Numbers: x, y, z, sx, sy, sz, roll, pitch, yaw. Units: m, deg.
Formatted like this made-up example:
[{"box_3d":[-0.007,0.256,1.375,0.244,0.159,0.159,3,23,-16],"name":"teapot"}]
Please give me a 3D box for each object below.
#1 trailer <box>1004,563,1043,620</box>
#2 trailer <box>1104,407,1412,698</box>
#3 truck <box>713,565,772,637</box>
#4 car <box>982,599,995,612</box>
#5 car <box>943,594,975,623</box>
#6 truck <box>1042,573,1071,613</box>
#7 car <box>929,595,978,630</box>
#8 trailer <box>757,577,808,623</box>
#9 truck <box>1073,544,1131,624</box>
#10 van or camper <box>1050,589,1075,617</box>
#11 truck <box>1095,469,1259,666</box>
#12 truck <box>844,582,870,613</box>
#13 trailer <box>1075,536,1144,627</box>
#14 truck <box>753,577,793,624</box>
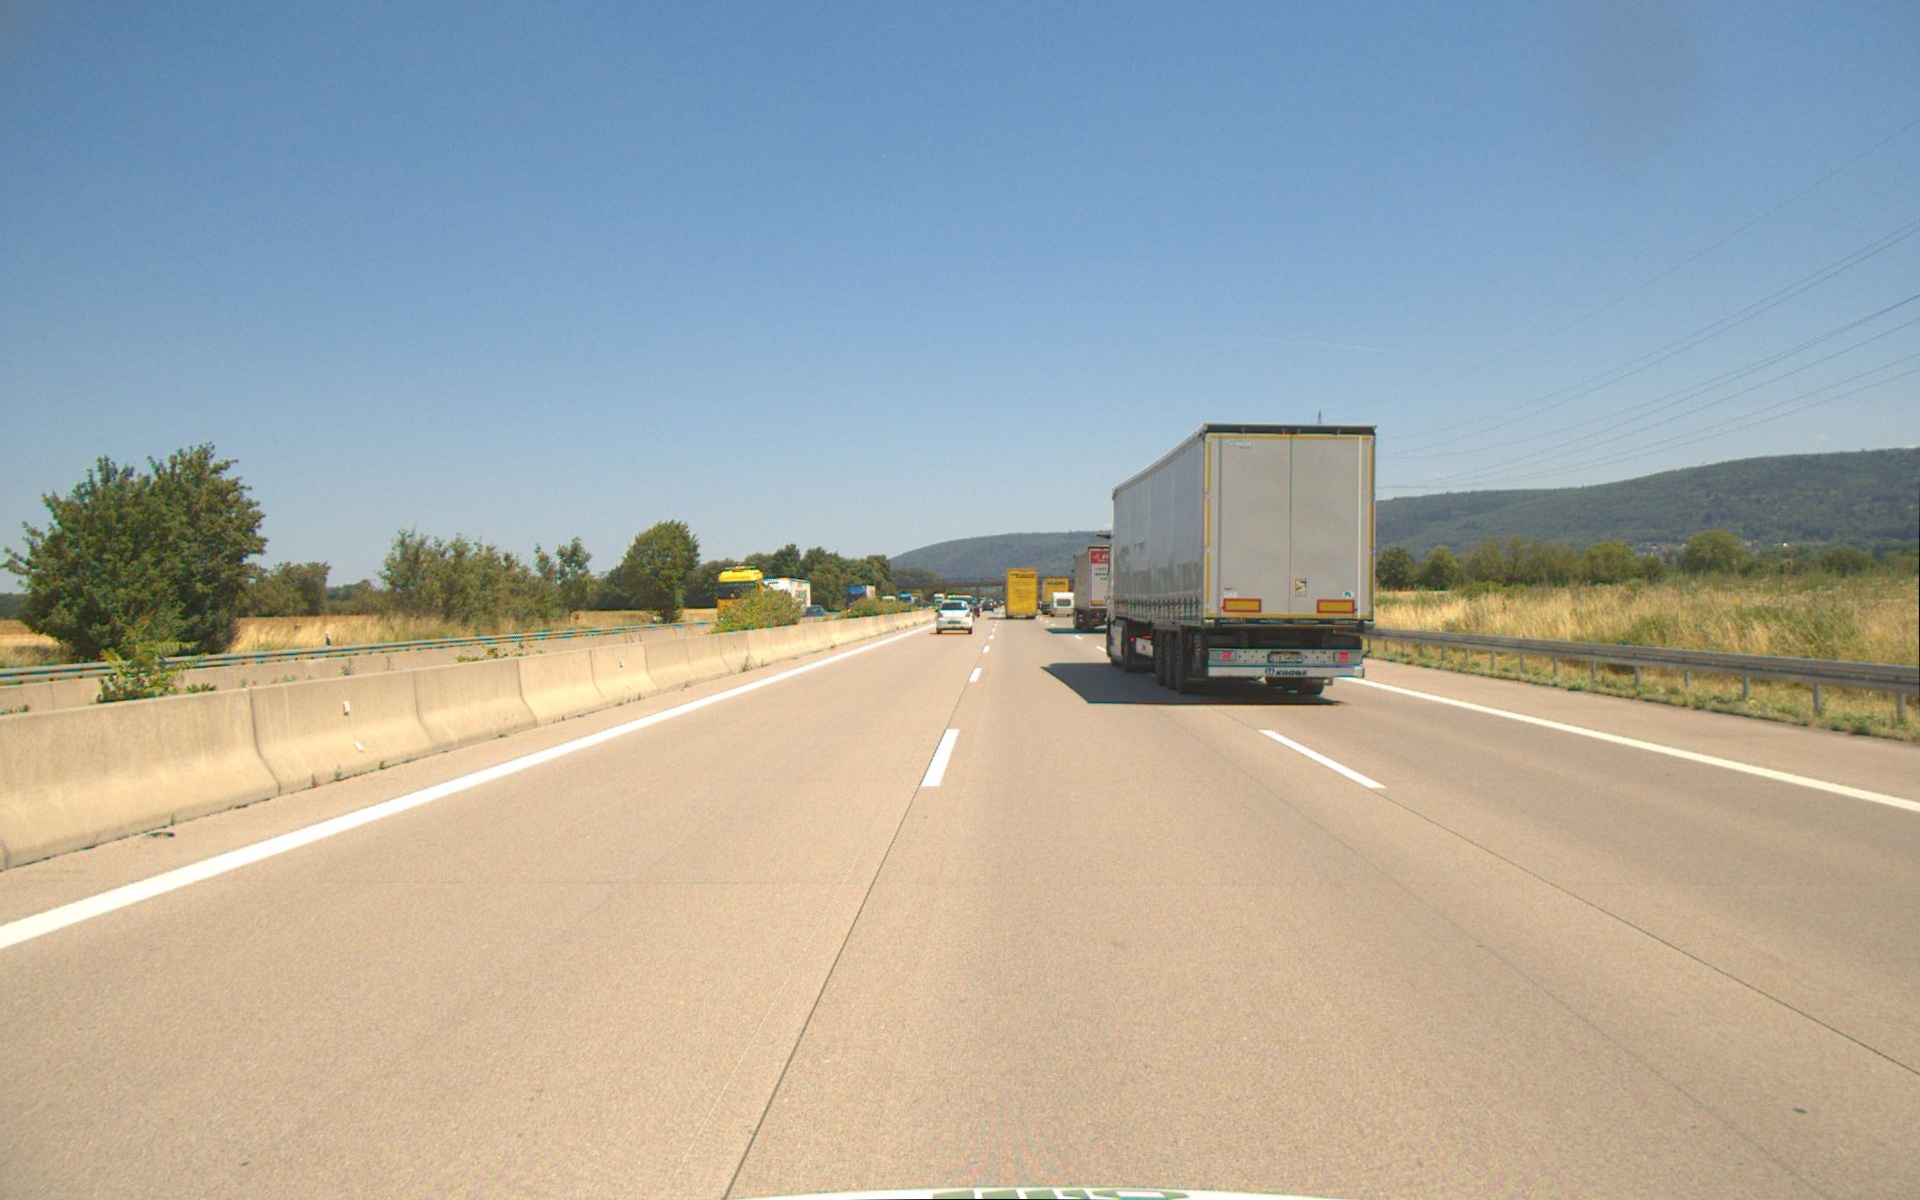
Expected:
[{"box_3d":[5.485,-0.705,144.062,3.149,4.643,13.459,0,0,2],"name":"trailer"},{"box_3d":[4.872,-0.679,30.690,2.956,4.132,14.204,0,0,-1],"name":"trailer"},{"box_3d":[-12.876,0.038,98.452,2.687,4.151,5.540,0,0,1],"name":"truck"},{"box_3d":[4.049,0.761,236.914,1.747,1.914,4.001,0,0,2],"name":"car"},{"box_3d":[-0.064,0.629,122.458,2.208,2.049,4.299,0,0,2],"name":"car"},{"box_3d":[10.849,-0.780,186.767,2.937,4.390,9.686,0,0,2],"name":"truck"},{"box_3d":[-0.257,0.573,77.010,2.063,1.563,4.123,0,0,3],"name":"car"},{"box_3d":[-15.653,0.035,146.755,2.713,3.869,13.830,0,0,1],"name":"trailer"},{"box_3d":[7.653,-0.852,89.730,2.845,4.172,6.273,0,0,2],"name":"truck"},{"box_3d":[9.760,0.290,158.163,2.178,2.575,5.431,0,0,1],"name":"van or camper"},{"box_3d":[4.783,-0.683,37.478,2.923,4.133,5.477,0,0,-1],"name":"truck"},{"box_3d":[-13.282,-0.344,212.959,2.837,3.931,5.685,0,0,1],"name":"truck"},{"box_3d":[7.369,-0.848,83.138,2.814,4.172,13.517,0,0,2],"name":"trailer"},{"box_3d":[-15.815,0.030,140.164,2.713,3.907,4.452,0,0,1],"name":"truck"}]
